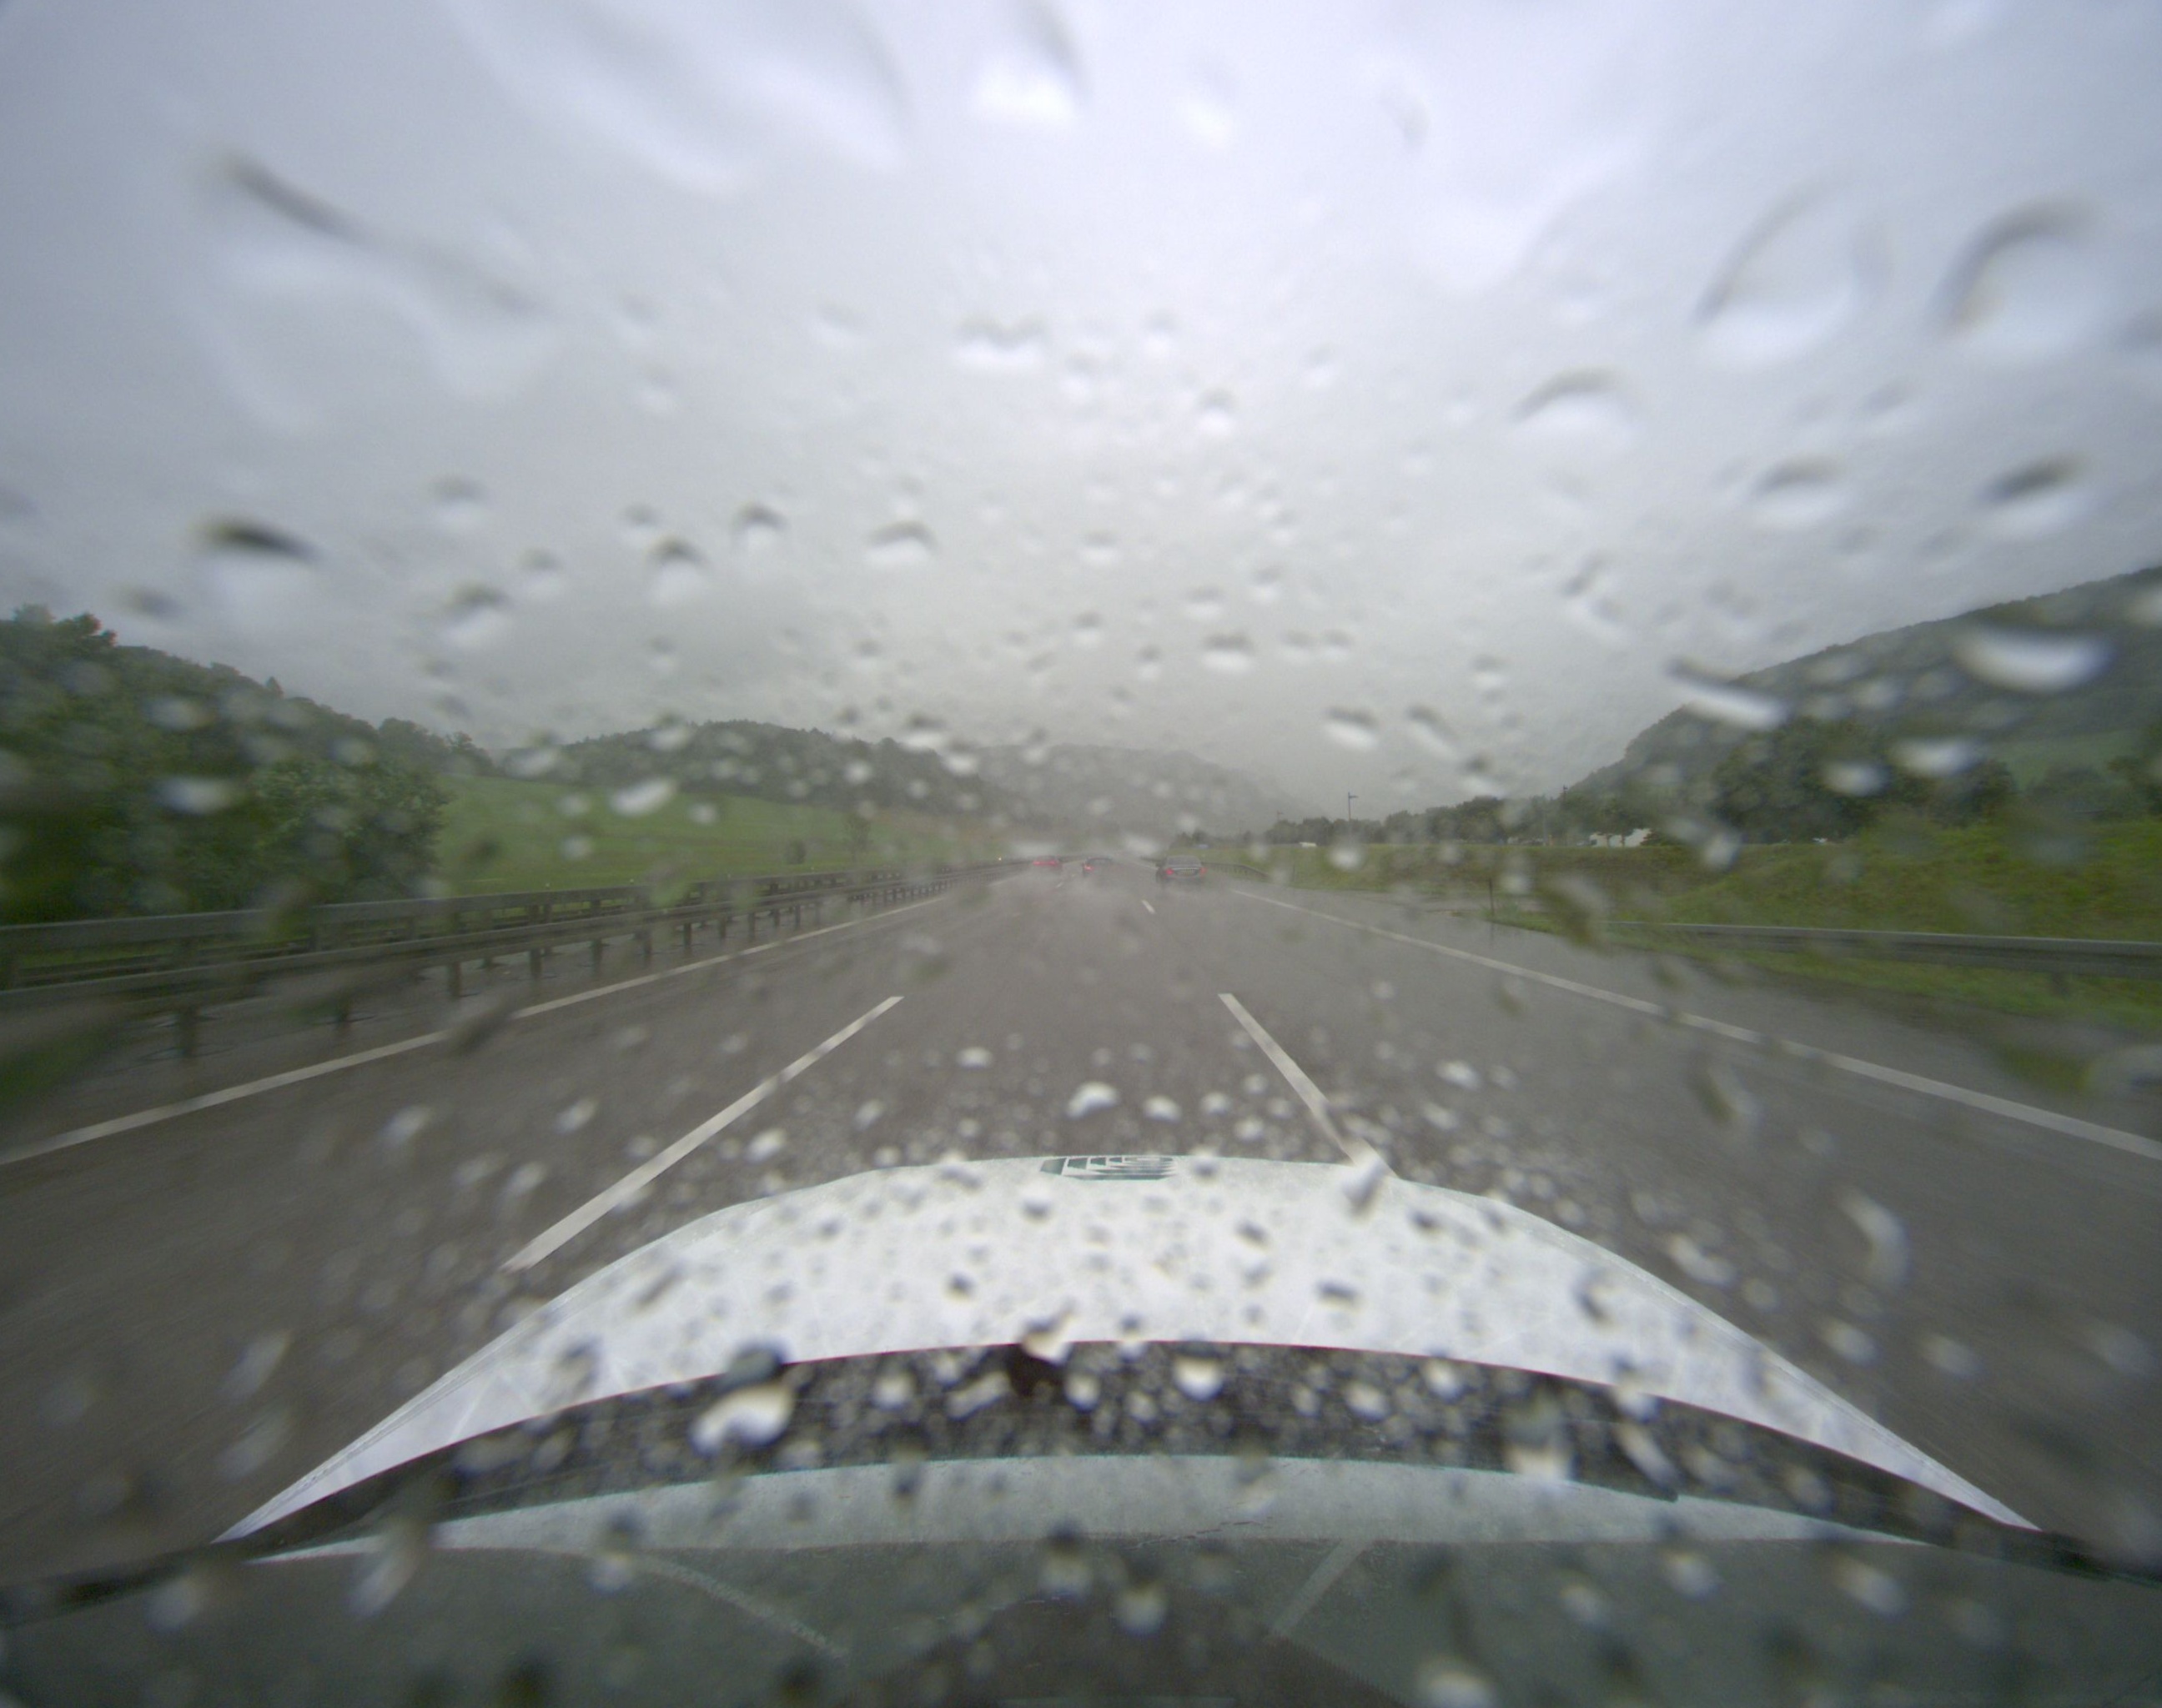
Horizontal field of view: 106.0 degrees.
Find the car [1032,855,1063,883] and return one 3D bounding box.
[{"bbox_3d":[-2.316,1.036,57.446,1.878,1.816,4.001,-1,0,1],"label":"car"}]

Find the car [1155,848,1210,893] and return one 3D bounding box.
[{"bbox_3d":[4.275,0.658,34.904,1.964,1.760,4.002,-2,0,2],"label":"car"}]

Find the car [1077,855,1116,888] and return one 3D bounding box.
[{"bbox_3d":[0.826,0.867,41.383,1.852,1.589,4.002,0,0,2],"label":"car"}]
